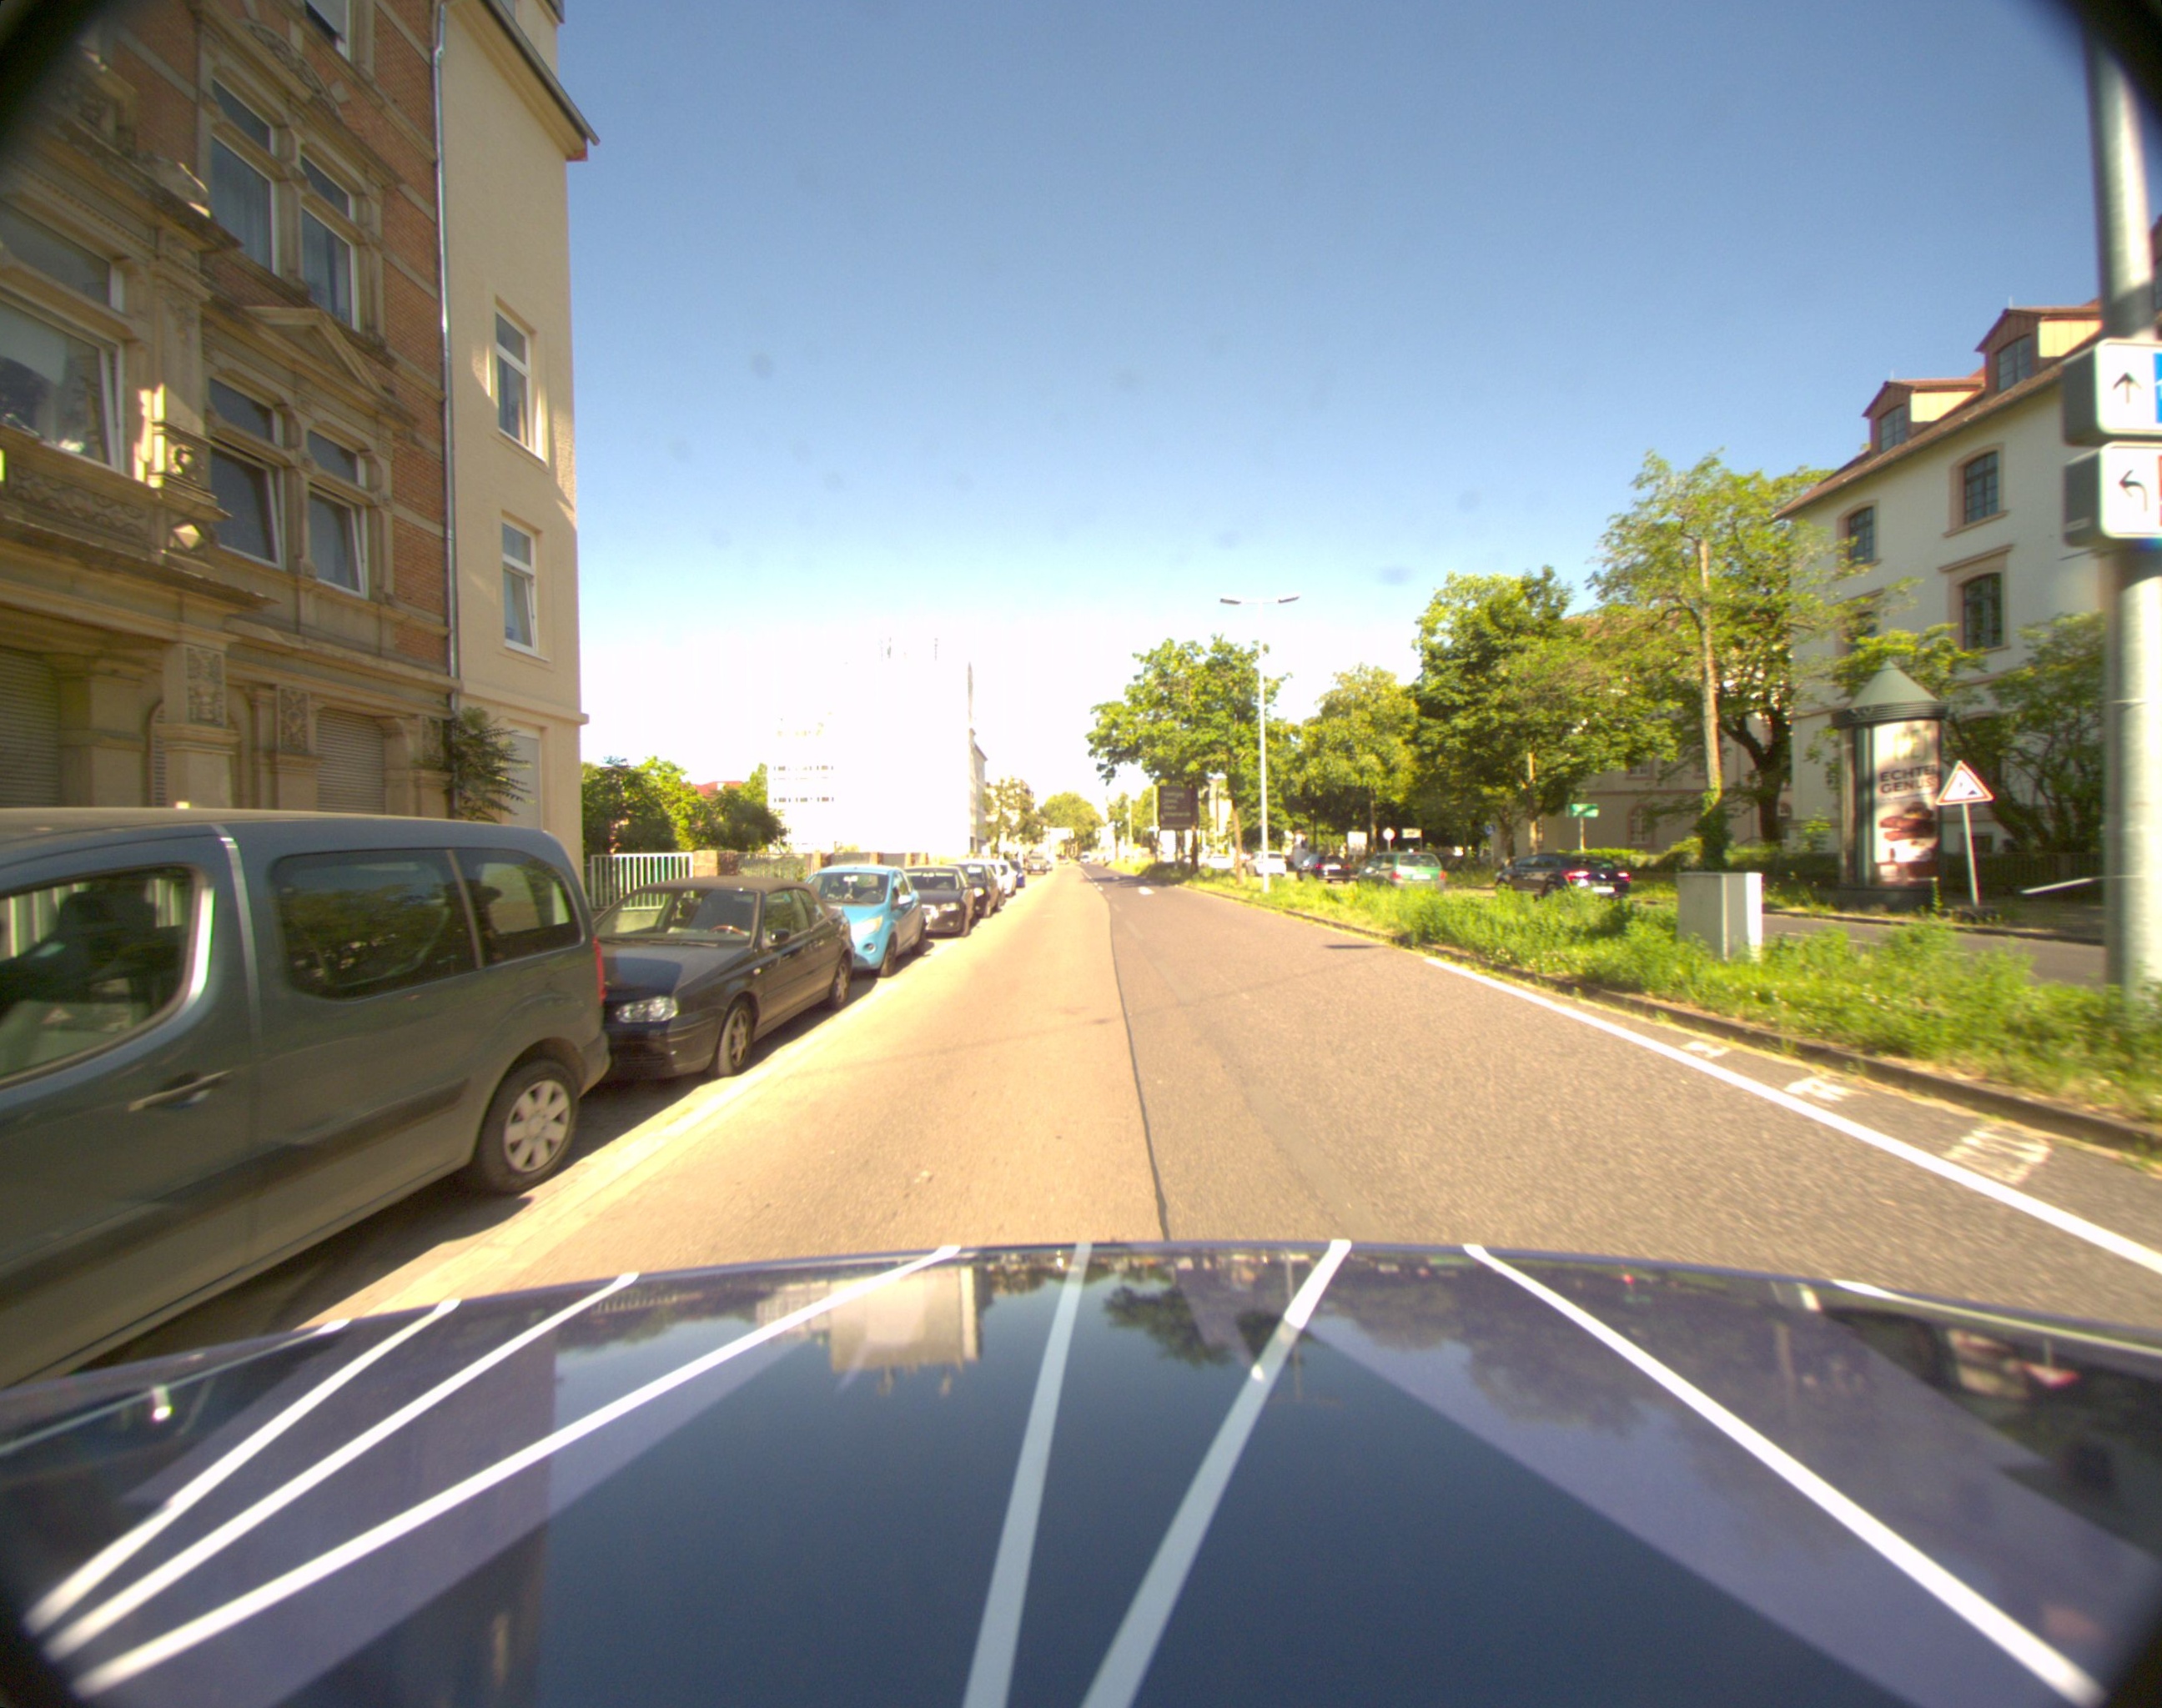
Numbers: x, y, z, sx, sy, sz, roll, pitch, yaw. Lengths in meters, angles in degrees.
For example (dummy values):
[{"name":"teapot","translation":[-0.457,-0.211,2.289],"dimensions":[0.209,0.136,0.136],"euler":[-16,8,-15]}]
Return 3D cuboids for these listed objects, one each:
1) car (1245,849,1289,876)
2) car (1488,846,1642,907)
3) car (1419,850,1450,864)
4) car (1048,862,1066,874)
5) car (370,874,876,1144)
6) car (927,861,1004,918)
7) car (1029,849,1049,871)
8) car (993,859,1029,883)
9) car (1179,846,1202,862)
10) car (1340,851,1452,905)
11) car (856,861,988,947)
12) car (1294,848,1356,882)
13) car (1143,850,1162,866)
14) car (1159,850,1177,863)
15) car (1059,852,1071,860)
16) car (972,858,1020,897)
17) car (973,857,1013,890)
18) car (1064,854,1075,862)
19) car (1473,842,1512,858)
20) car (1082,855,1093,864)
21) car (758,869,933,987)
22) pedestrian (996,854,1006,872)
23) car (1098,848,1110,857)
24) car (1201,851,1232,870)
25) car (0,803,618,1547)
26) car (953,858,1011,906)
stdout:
[{"name":"car","translation":[11.761,0.489,48.238],"dimensions":[1.905,1.616,4.538],"euler":[0,0,3]},{"name":"car","translation":[13.702,0.567,21.863],"dimensions":[1.799,1.510,4.424],"euler":[-2,1,4]},{"name":"car","translation":[33.772,0.291,72.690],"dimensions":[1.769,1.315,3.503],"euler":[-1,0,10]},{"name":"car","translation":[-2.895,1.690,92.525],"dimensions":[1.641,1.439,4.158],"euler":[-1,-1,4]},{"name":"car","translation":[-3.303,0.983,6.647],"dimensions":[1.672,1.459,4.275],"euler":[-2,0,2]},{"name":"car","translation":[-3.145,0.933,21.337],"dimensions":[1.672,1.385,3.774],"euler":[-1,0,-1]},{"name":"car","translation":[-3.944,0.555,71.608],"dimensions":[1.664,2.002,4.775],"euler":[0,1,-1]},{"name":"car","translation":[-3.781,0.896,41.392],"dimensions":[1.672,1.175,3.900],"euler":[2,0,-2]},{"name":"car","translation":[11.609,-0.046,80.685],"dimensions":[1.800,1.510,4.256],"euler":[-2,2,0]},{"name":"car","translation":[9.663,0.681,23.686],"dimensions":[1.642,1.510,4.257],"euler":[-1,0,-1]},{"name":"car","translation":[-3.177,0.943,16.164],"dimensions":[1.940,1.510,4.483],"euler":[-1,0,-1]},{"name":"car","translation":[11.845,0.512,37.198],"dimensions":[1.800,1.510,4.086],"euler":[0,1,1]},{"name":"car","translation":[8.748,0.495,93.227],"dimensions":[1.757,1.609,4.320],"euler":[-2,3,0]},{"name":"car","translation":[11.150,0.314,97.589],"dimensions":[1.800,1.510,4.257],"euler":[-2,0,-1]},{"name":"car","translation":[-3.329,0.456,159.921],"dimensions":[1.882,1.510,4.001],"euler":[-2,1,6]},{"name":"car","translation":[-3.436,0.935,31.377],"dimensions":[1.612,1.437,3.658],"euler":[2,0,-1]},{"name":"car","translation":[-4.182,0.907,36.700],"dimensions":[1.673,1.451,3.984],"euler":[2,0,-4]},{"name":"car","translation":[-2.492,0.795,169.433],"dimensions":[1.882,1.511,3.999],"euler":[-2,3,6]},{"name":"car","translation":[44.983,-0.480,83.180],"dimensions":[1.646,1.484,4.682],"euler":[-2,3,-1]},{"name":"car","translation":[1.473,1.158,161.532],"dimensions":[1.882,1.511,3.999],"euler":[-2,3,6]},{"name":"car","translation":[-3.338,0.987,11.395],"dimensions":[1.626,1.462,3.298],"euler":[0,0,-1]},{"name":"pedestrian","translation":[-7.123,0.822,67.576],"dimensions":[0.745,1.574,0.896],"euler":[-2,1,0]},{"name":"car","translation":[5.075,-0.311,166.103],"dimensions":[2.239,2.016,5.016],"euler":[-2,1,-1]},{"name":"car","translation":[11.573,0.496,65.120],"dimensions":[1.843,1.510,4.666],"euler":[-1,0,1]},{"name":"car","translation":[-3.578,0.804,2.055],"dimensions":[1.823,1.833,4.364],"euler":[-1,0,2]},{"name":"car","translation":[-3.332,0.901,26.107],"dimensions":[1.672,1.510,3.660],"euler":[-1,0,-3]}]
